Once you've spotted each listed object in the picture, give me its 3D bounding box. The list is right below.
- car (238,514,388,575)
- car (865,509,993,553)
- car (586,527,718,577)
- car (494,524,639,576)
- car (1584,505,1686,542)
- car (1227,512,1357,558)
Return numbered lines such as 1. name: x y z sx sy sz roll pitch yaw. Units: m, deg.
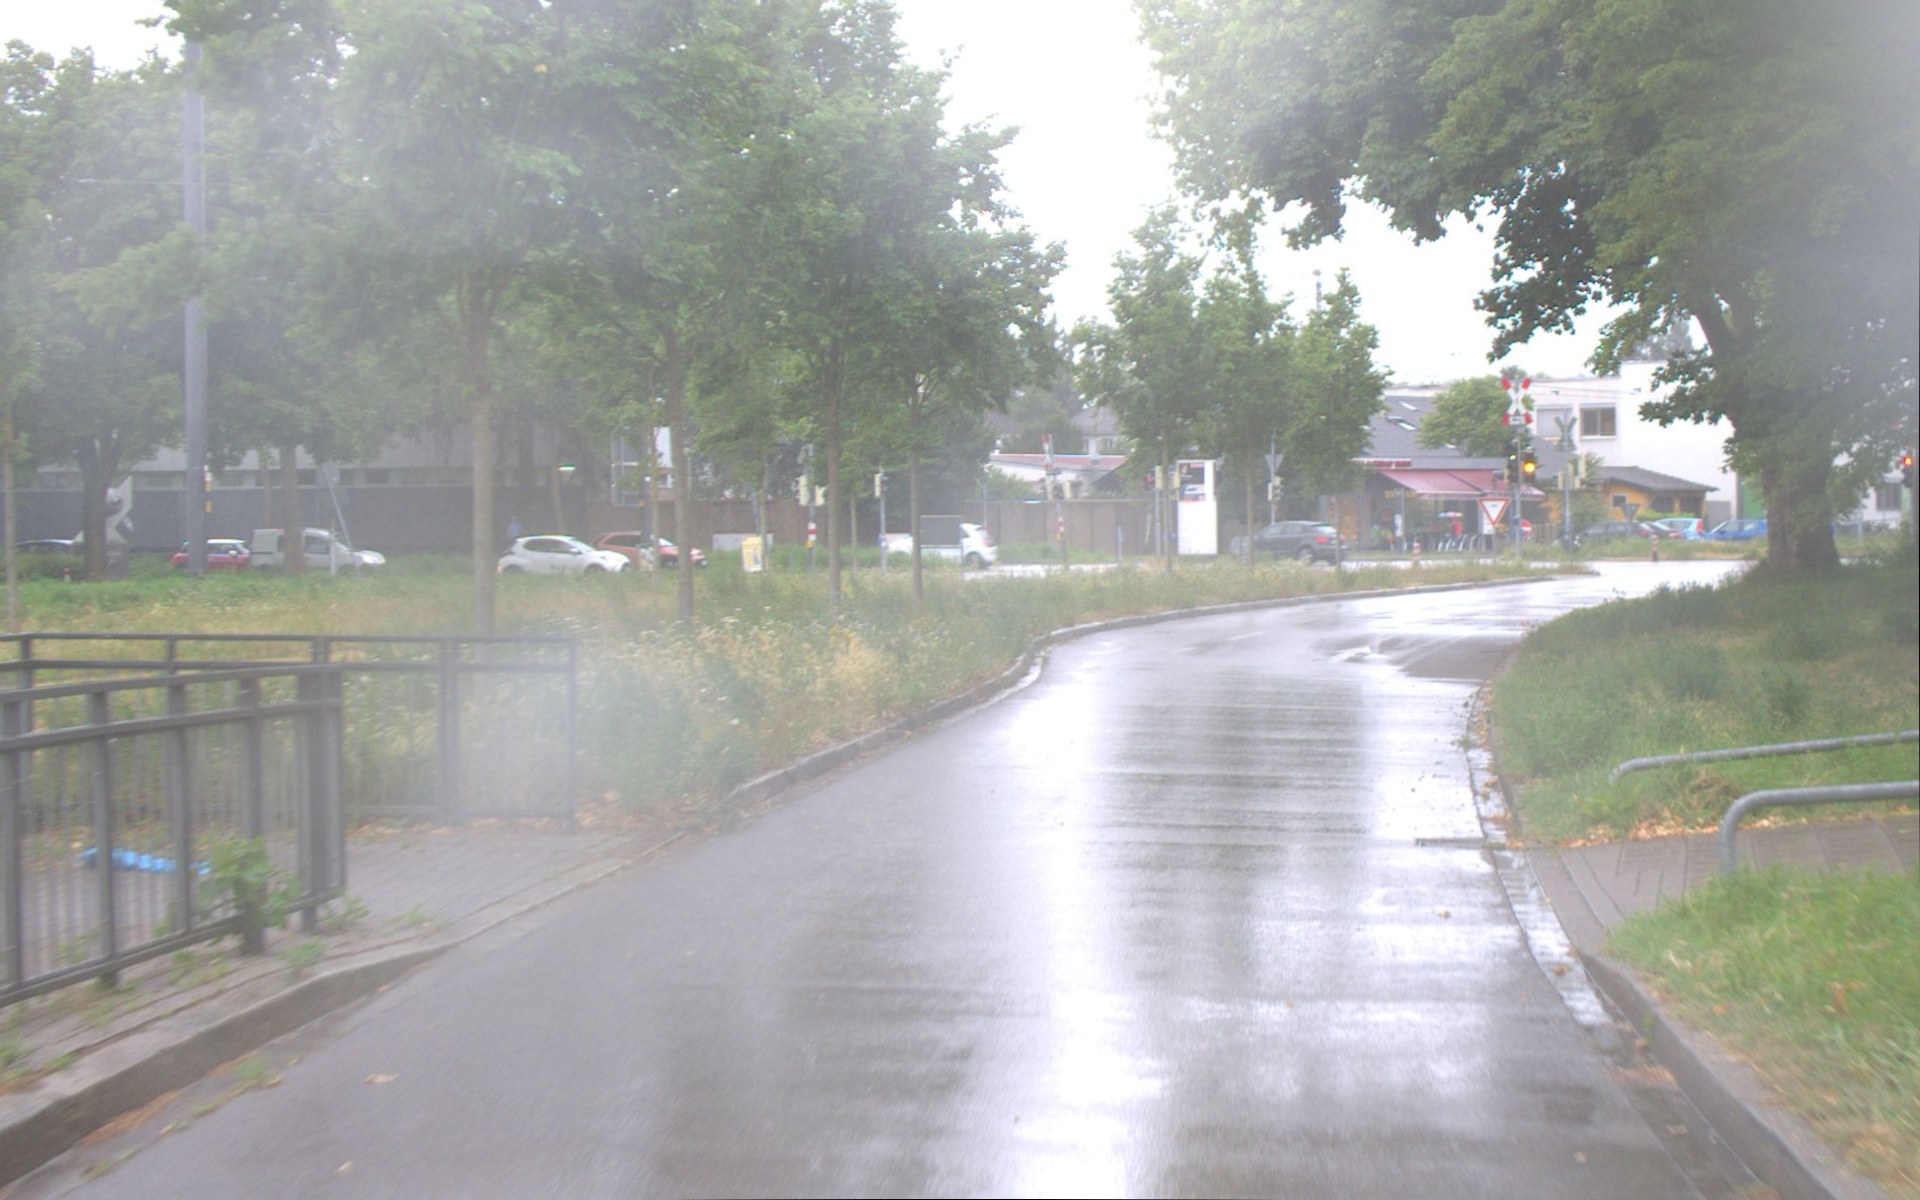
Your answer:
1. car: -19.951 -1.722 106.074 4.211 1.790 1.652 0 2 8
2. car: -1.030 -2.303 114.613 3.990 1.415 1.537 0 2 15
3. car: -9.660 -1.498 107.853 3.819 1.494 1.651 -1 1 10
4. car: -11.941 -1.506 104.367 4.067 1.494 1.651 -1 1 10
5. car: 27.741 -3.131 141.282 3.755 1.437 1.760 0 1 25
6. car: 10.623 -2.068 110.167 3.811 1.415 1.686 0 2 36
